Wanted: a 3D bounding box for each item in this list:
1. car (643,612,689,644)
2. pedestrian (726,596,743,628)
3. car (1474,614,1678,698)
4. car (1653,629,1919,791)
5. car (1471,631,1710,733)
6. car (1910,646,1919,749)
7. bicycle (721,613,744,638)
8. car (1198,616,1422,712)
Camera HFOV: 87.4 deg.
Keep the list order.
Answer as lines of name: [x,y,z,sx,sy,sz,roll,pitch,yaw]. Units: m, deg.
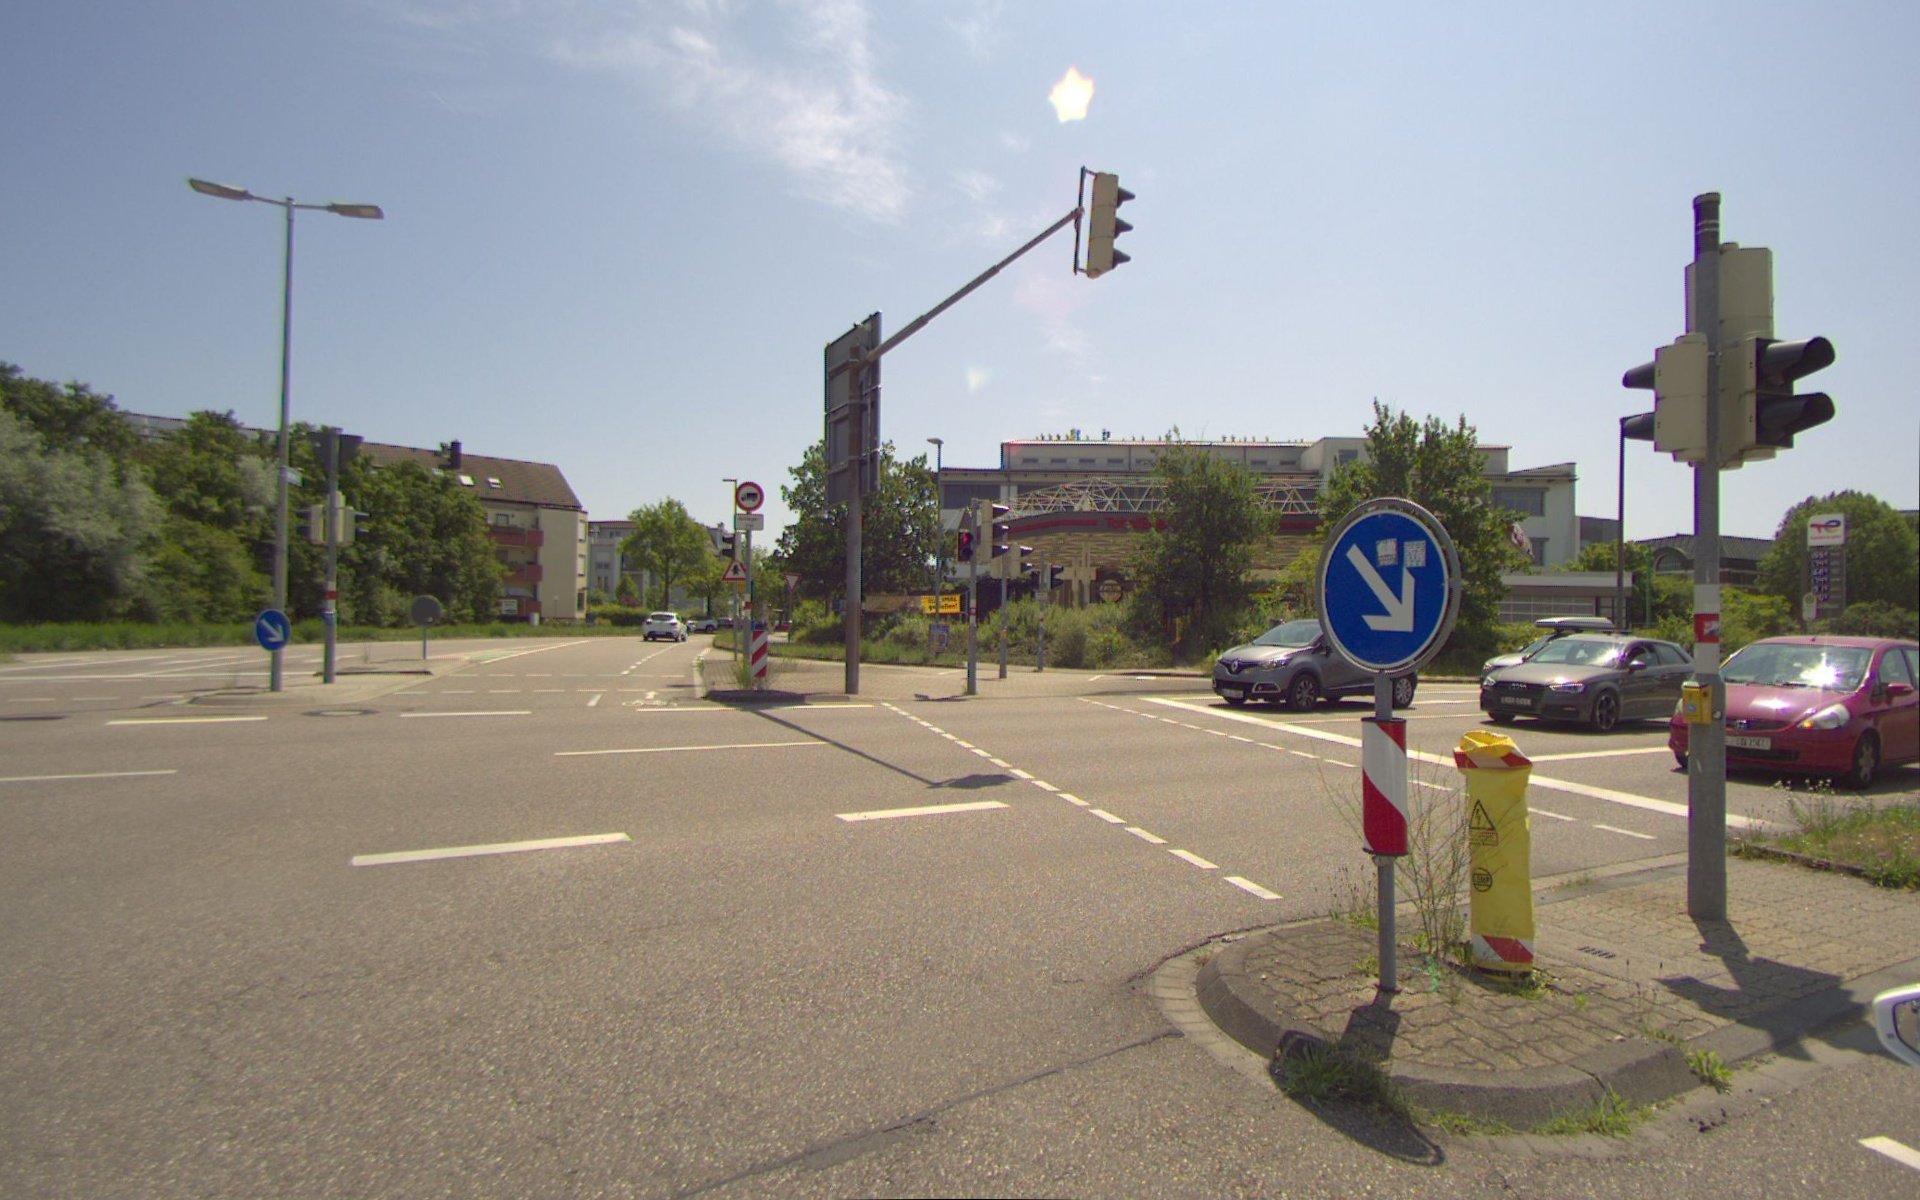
car: [-14.605,1.369,50.027,1.797,1.468,3.820,2,-2,-11]
pedestrian: [-19.594,1.042,87.319,0.864,2.751,1.518,2,-1,9]
car: [14.348,1.263,23.330,4.963,1.773,1.955,2,-2,-30]
car: [9.699,1.127,11.290,3.953,1.510,1.650,2,-2,-30]
car: [10.119,1.256,16.059,3.957,1.403,1.589,2,-1,-30]
car: [15.436,1.405,14.479,3.809,1.442,1.553,1,-1,-31]
bicycle: [-19.651,2.207,86.973,0.876,2.040,3.196,1,-1,7]
car: [6.336,1.111,18.074,3.953,1.560,1.650,2,-1,-30]
